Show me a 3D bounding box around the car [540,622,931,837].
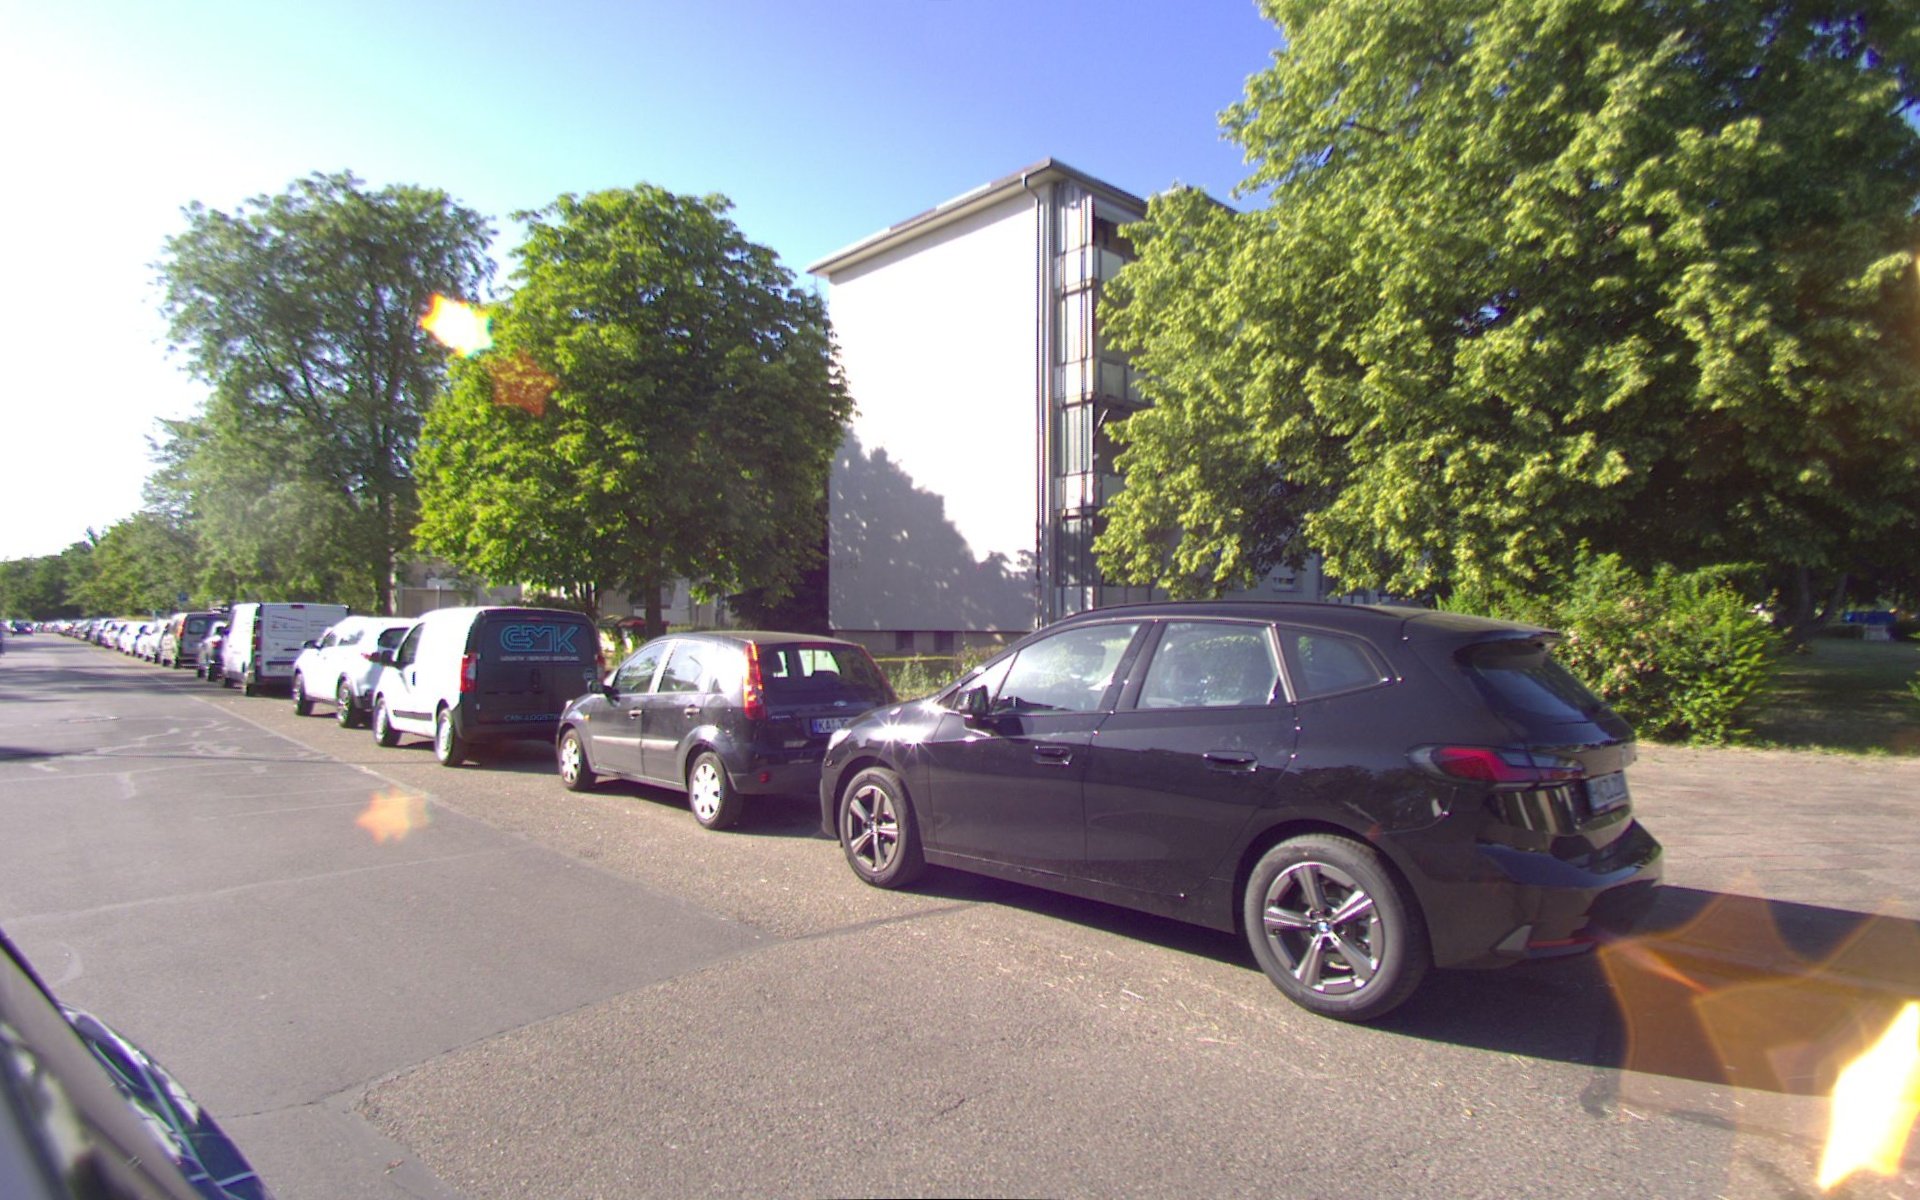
[{"bbox_3d":[-2.076,0.956,8.721,1.604,1.448,3.657,4,-4,-44],"label":"car"}]

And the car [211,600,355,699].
[{"bbox_3d":[-15.054,1.078,22.412,1.882,1.956,4.515,4,-4,-43],"label":"car"}]

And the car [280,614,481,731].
[{"bbox_3d":[-9.462,1.111,16.373,4.171,1.652,1.708,-2,-4,45],"label":"car"}]

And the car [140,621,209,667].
[{"bbox_3d":[-29.447,1.638,37.925,1.609,1.641,3.559,4,-4,-44],"label":"car"}]

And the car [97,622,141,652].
[{"bbox_3d":[-48.140,2.106,57.935,1.609,1.641,3.559,4,-4,-44],"label":"car"}]

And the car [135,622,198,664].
[{"bbox_3d":[-32.482,1.746,41.407,1.609,1.641,3.559,4,-4,-44],"label":"car"}]

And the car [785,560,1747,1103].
[{"bbox_3d":[1.104,0.770,5.204,1.759,1.586,4.427,4,-4,-44],"label":"car"}]

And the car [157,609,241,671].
[{"bbox_3d":[-25.417,1.342,33.762,1.707,1.968,3.815,4,-4,-44],"label":"car"}]

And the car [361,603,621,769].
[{"bbox_3d":[-5.786,0.950,12.303,1.791,1.695,3.652,3,-3,-43],"label":"car"}]

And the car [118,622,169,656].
[{"bbox_3d":[-40.720,1.952,50.437,1.609,1.641,3.559,4,-4,-44],"label":"car"}]

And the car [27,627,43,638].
[{"bbox_3d":[-136.779,4.779,149.617,1.609,1.651,3.569,4,-4,-44],"label":"car"}]

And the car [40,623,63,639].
[{"bbox_3d":[-92.958,3.191,103.551,1.609,1.641,3.559,4,-4,-44],"label":"car"}]

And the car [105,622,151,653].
[{"bbox_3d":[-45.392,2.050,55.202,1.609,1.641,3.559,4,-4,-44],"label":"car"}]

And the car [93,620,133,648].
[{"bbox_3d":[-52.045,2.109,62.160,1.609,1.641,3.559,4,-4,-44],"label":"car"}]

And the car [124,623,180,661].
[{"bbox_3d":[-36.753,1.884,46.014,1.609,1.641,3.559,4,-4,-44],"label":"car"}]

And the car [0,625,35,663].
[{"bbox_3d":[-41.683,1.912,44.280,1.708,1.608,3.815,0,-1,-44],"label":"car"}]

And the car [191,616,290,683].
[{"bbox_3d":[-19.327,1.315,27.131,1.706,1.652,3.818,4,-4,-41],"label":"car"}]

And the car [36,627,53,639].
[{"bbox_3d":[-127.599,4.650,141.025,1.609,1.641,3.559,4,-4,-44],"label":"car"}]

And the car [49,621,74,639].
[{"bbox_3d":[-87.862,2.942,98.953,1.609,1.641,3.559,4,-4,-44],"label":"car"}]
